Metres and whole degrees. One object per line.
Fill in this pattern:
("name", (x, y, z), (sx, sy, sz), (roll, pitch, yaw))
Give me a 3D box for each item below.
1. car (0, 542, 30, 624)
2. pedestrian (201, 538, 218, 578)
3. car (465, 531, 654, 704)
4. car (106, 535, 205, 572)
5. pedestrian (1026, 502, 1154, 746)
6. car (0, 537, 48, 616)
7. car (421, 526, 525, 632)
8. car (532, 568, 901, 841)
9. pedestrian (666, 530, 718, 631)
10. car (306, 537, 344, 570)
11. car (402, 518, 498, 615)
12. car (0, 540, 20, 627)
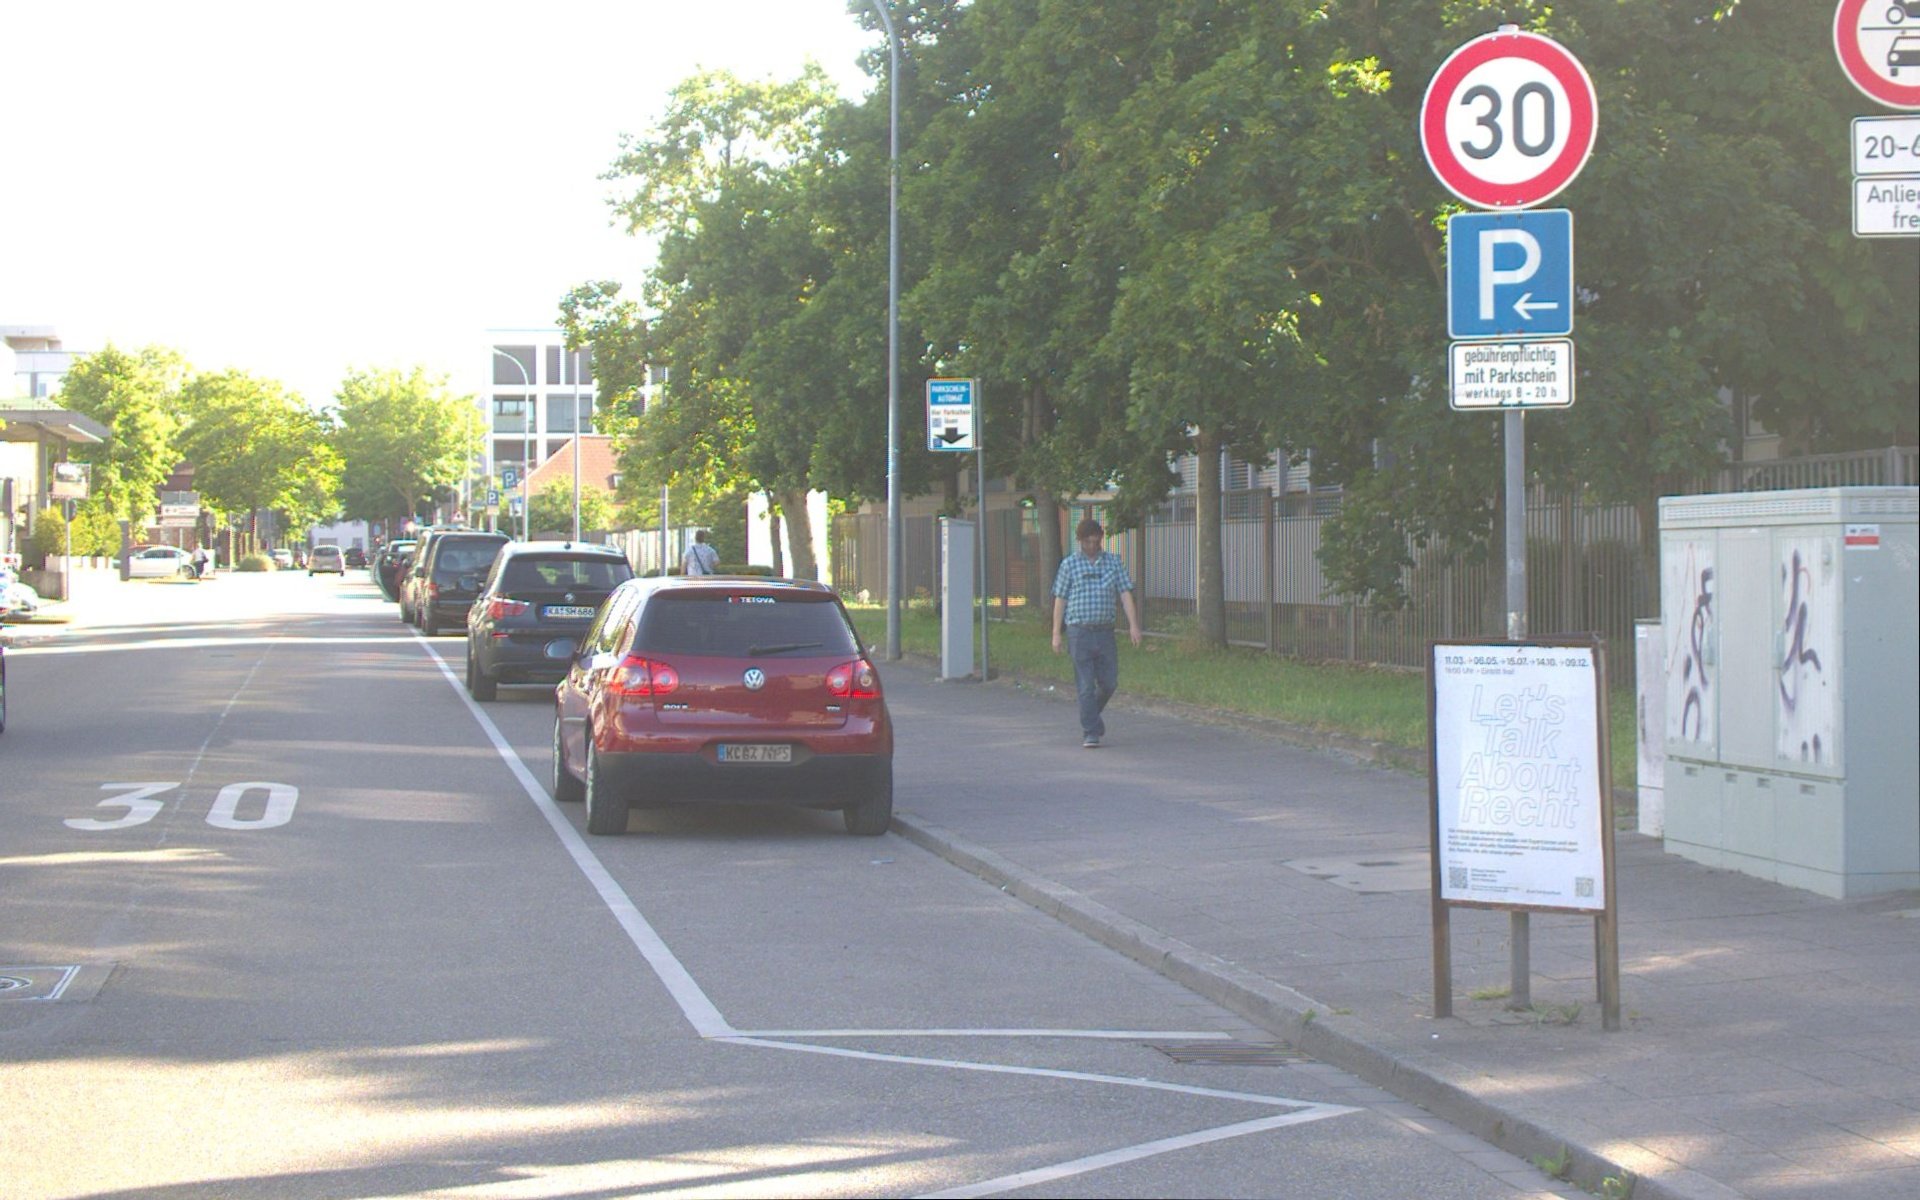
("car", (-20.010, -0.309, 66.091), (3.986, 1.546, 2.001), (-1, 1, -12))
("pedestrian", (-30.450, -1.711, 139.476), (0.618, 1.618, 0.716), (-1, 1, -10))
("car", (-4.368, 0.139, 36.980), (1.811, 1.660, 4.594), (1, 2, -9))
("car", (-34.164, -1.961, 146.039), (3.986, 1.514, 2.000), (0, 0, -10))
("pedestrian", (0.962, 0.165, 25.607), (0.717, 1.752, 0.885), (-3, 2, -9))
("car", (-20.310, -0.478, 68.582), (3.986, 1.546, 2.001), (0, 1, -12))
("car", (-8.750, -0.399, 61.557), (1.732, 1.824, 3.906), (0, 1, -10))
("car", (-1.614, 0.560, 21.177), (1.719, 1.450, 4.653), (1, 1, -11))
("pedestrian", (-4.475, -0.330, 57.365), (0.698, 1.655, 0.752), (-3, 1, -10))
("car", (-30.425, -2.230, 164.781), (1.743, 1.538, 4.001), (0, 1, -10))
("car", (-10.981, -0.742, 73.845), (1.874, 1.971, 4.001), (-1, 1, -10))
("car", (-19.641, -0.349, 63.682), (4.212, 1.597, 1.873), (1, 1, -13))
